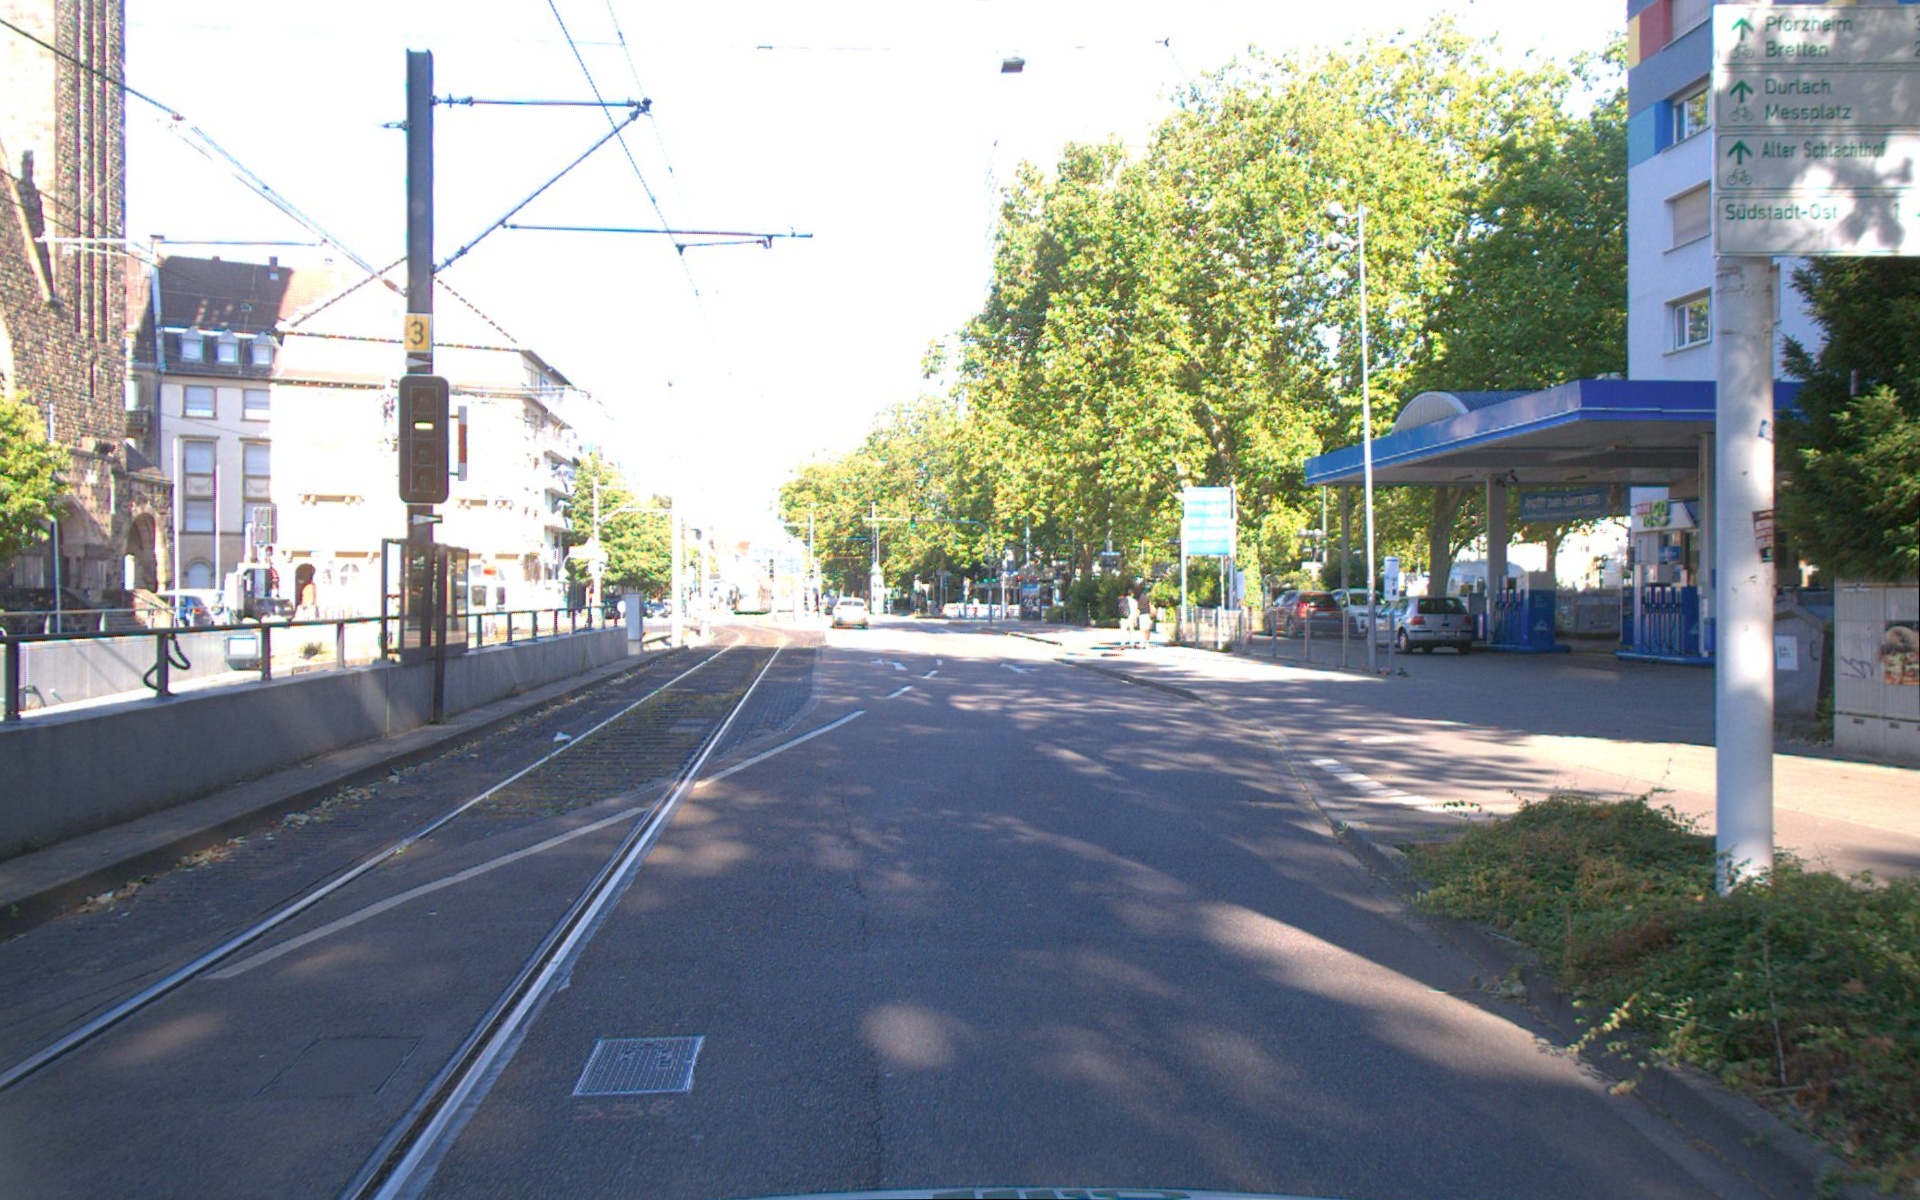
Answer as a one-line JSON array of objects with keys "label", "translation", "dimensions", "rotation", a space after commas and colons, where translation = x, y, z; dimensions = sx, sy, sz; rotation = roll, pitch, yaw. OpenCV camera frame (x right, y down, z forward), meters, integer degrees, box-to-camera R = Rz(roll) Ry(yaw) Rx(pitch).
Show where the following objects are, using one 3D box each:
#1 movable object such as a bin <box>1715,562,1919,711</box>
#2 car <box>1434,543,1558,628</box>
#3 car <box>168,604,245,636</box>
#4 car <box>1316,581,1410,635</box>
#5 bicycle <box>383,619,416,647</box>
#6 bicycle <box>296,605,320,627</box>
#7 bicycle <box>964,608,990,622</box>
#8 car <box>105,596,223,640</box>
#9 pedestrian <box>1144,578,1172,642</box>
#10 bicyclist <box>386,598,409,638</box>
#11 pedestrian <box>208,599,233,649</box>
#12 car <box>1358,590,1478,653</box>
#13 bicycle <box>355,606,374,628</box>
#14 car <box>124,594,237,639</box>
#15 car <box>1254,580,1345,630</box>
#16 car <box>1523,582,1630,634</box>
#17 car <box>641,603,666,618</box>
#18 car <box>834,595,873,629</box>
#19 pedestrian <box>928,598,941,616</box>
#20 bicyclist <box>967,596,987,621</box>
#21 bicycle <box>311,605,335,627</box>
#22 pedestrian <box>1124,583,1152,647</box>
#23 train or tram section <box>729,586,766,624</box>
[{"label": "movable object such as a bin", "translation": [9.612, 0.363, 17.897], "dimensions": [1.997, 1.517, 1.742], "rotation": [-1, 0, -9]}, {"label": "car", "translation": [19.361, -0.504, 60.039], "dimensions": [2.197, 2.882, 5.791], "rotation": [-1, 0, -5]}, {"label": "car", "translation": [-45.879, 1.236, 100.698], "dimensions": [4.497, 1.783, 1.996], "rotation": [2, 0, 30]}, {"label": "car", "translation": [14.230, 0.244, 58.645], "dimensions": [1.823, 1.765, 4.794], "rotation": [-1, 1, -5]}, {"label": "bicycle", "translation": [-25.842, 1.511, 76.257], "dimensions": [0.618, 1.164, 2.280], "rotation": [-3, 0, 2]}, {"label": "bicycle", "translation": [-40.805, 0.977, 103.476], "dimensions": [0.815, 1.305, 2.533], "rotation": [2, 0, -35]}, {"label": "bicycle", "translation": [1.198, 1.075, 118.002], "dimensions": [1.178, 0.951, 2.564], "rotation": [2, 0, -14]}, {"label": "car", "translation": [-32.979, 0.737, 68.608], "dimensions": [3.907, 1.658, 1.894], "rotation": [2, 0, -3]}, {"label": "pedestrian", "translation": [5.766, 0.282, 48.232], "dimensions": [0.591, 1.807, 0.690], "rotation": [-4, 0, -1]}, {"label": "bicyclist", "translation": [-25.874, 0.822, 76.110], "dimensions": [0.618, 1.752, 0.916], "rotation": [-2, 0, 2]}, {"label": "pedestrian", "translation": [-29.344, 0.944, 65.617], "dimensions": [0.593, 1.920, 0.756], "rotation": [2, 0, -2]}, {"label": "car", "translation": [11.431, 0.509, 41.506], "dimensions": [1.537, 1.455, 4.094], "rotation": [-1, 0, -5]}, {"label": "bicycle", "translation": [-37.964, 1.060, 105.471], "dimensions": [0.807, 1.305, 2.556], "rotation": [2, 0, -13]}, {"label": "car", "translation": [-33.644, 0.705, 71.451], "dimensions": [3.907, 1.787, 1.894], "rotation": [2, 0, -3]}, {"label": "car", "translation": [12.083, 0.149, 59.194], "dimensions": [1.783, 1.630, 4.655], "rotation": [-1, 1, -7]}, {"label": "car", "translation": [21.895, 0.256, 58.914], "dimensions": [1.955, 1.769, 3.994], "rotation": [-1, 0, -7]}, {"label": "car", "translation": [-30.227, 1.011, 163.286], "dimensions": [1.954, 1.474, 4.836], "rotation": [-1, 0, -4]}, {"label": "car", "translation": [-5.160, 0.558, 79.710], "dimensions": [1.711, 1.487, 3.640], "rotation": [2, 0, -6]}, {"label": "pedestrian", "translation": [-1.984, 0.553, 129.394], "dimensions": [0.646, 1.412, 0.831], "rotation": [2, 0, 27]}, {"label": "bicyclist", "translation": [1.198, 0.617, 118.022], "dimensions": [1.179, 1.726, 0.900], "rotation": [2, 0, -15]}, {"label": "bicycle", "translation": [-40.074, 0.999, 104.006], "dimensions": [0.815, 1.305, 2.533], "rotation": [2, 0, -35]}, {"label": "pedestrian", "translation": [5.183, 0.419, 48.162], "dimensions": [0.591, 1.807, 0.879], "rotation": [-4, 0, -1]}, {"label": "train or tram section", "translation": [-20.805, 0.431, 162.236], "dimensions": [2.894, 3.470, 10.781], "rotation": [2, 0, -4]}]
